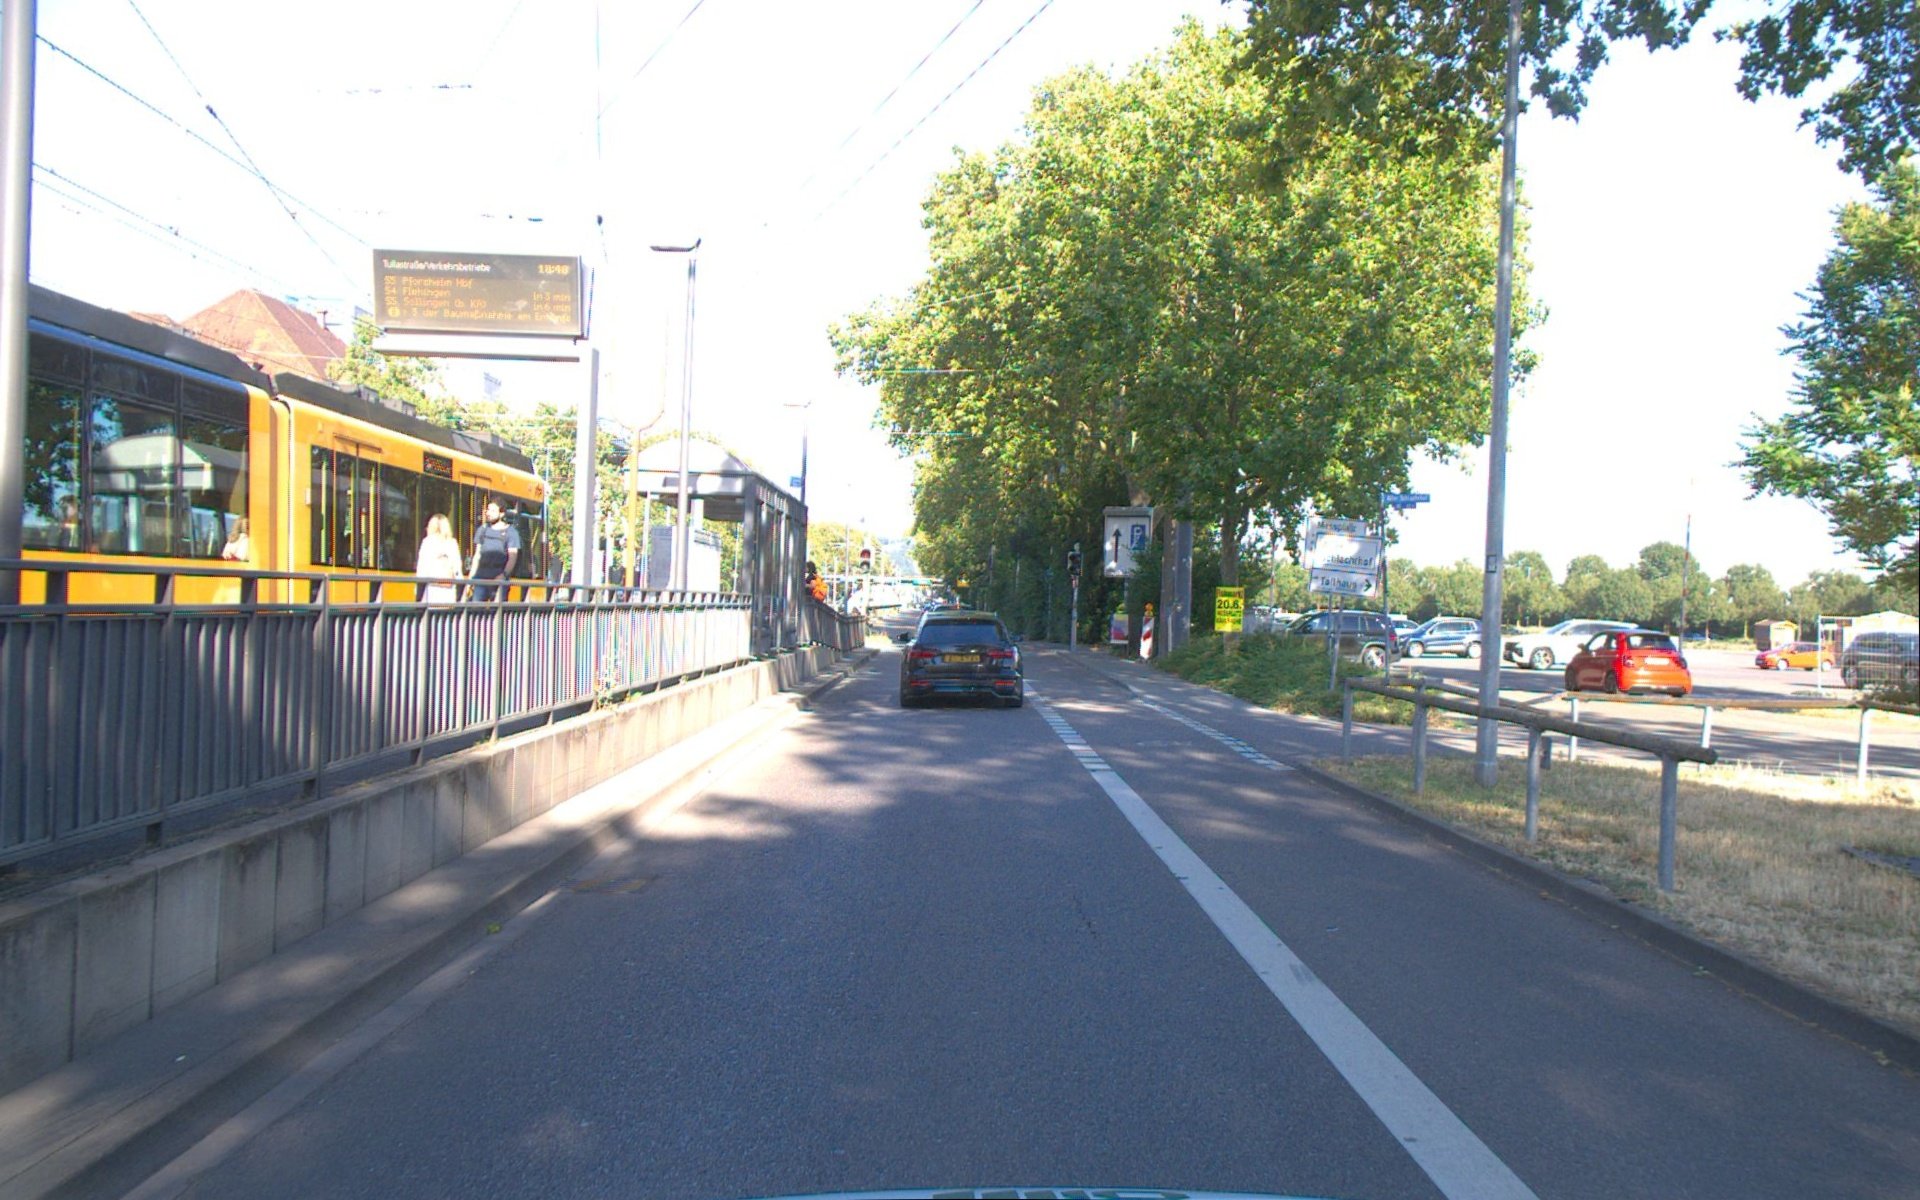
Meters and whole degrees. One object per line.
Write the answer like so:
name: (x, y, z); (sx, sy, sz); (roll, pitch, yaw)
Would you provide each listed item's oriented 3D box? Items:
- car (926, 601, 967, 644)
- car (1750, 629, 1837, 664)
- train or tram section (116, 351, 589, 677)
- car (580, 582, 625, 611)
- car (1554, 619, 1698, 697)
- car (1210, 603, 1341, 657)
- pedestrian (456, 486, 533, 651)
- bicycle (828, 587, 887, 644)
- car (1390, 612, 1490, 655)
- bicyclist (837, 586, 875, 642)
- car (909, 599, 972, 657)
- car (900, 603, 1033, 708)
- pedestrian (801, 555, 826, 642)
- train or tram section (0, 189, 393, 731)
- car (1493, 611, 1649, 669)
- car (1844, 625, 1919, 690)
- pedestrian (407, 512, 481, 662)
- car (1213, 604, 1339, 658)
car: (-0.702, 1.108, 84.444); (1.953, 2.049, 3.999); (2, 0, -1)
car: (43.524, 2.415, 86.394); (3.738, 1.629, 1.649); (2, 0, -4)
train or tram section: (-8.851, -1.062, 26.415); (3.242, 3.896, 11.840); (2, 0, -1)
car: (-20.626, -0.196, 95.625); (1.704, 1.574, 3.999); (3, 0, -1)
car: (14.735, 1.254, 36.794); (1.581, 1.542, 3.802); (2, 0, -1)
car: (10.058, 0.952, 52.938); (3.806, 1.531, 1.888); (2, 0, 0)
pedestrian: (-5.074, -0.333, 18.057); (0.599, 1.743, 0.659); (2, 0, -3)
bicycle: (-3.264, 0.504, 52.827); (0.581, 1.746, 1.959); (2, 0, 44)
car: (20.523, 1.434, 70.796); (3.735, 1.637, 1.670); (2, 0, -1)
bicyclist: (-3.314, 0.450, 52.797); (0.758, 1.746, 0.903); (2, 0, 44)
car: (-0.646, 0.830, 50.912); (1.727, 1.647, 3.997); (2, 0, -3)
car: (0.039, 0.804, 25.515); (1.841, 1.482, 3.354); (0, 0, -3)
pedestrian: (-2.992, -0.032, 33.775); (0.403, 1.746, 0.665); (2, 0, -1)
train or tram section: (-8.609, -1.061, 14.538); (3.242, 3.896, 11.840); (2, 0, -1)
car: (19.876, 1.281, 53.959); (4.365, 1.687, 1.918); (2, 0, 3)
car: (25.601, 1.535, 44.347); (1.534, 1.638, 3.999); (2, 0, -1)
pedestrian: (-6.175, -0.156, 19.821); (0.644, 1.743, 0.613); (2, 0, -3)
car: (9.661, 0.949, 50.709); (3.521, 1.488, 1.678); (2, 0, 0)
